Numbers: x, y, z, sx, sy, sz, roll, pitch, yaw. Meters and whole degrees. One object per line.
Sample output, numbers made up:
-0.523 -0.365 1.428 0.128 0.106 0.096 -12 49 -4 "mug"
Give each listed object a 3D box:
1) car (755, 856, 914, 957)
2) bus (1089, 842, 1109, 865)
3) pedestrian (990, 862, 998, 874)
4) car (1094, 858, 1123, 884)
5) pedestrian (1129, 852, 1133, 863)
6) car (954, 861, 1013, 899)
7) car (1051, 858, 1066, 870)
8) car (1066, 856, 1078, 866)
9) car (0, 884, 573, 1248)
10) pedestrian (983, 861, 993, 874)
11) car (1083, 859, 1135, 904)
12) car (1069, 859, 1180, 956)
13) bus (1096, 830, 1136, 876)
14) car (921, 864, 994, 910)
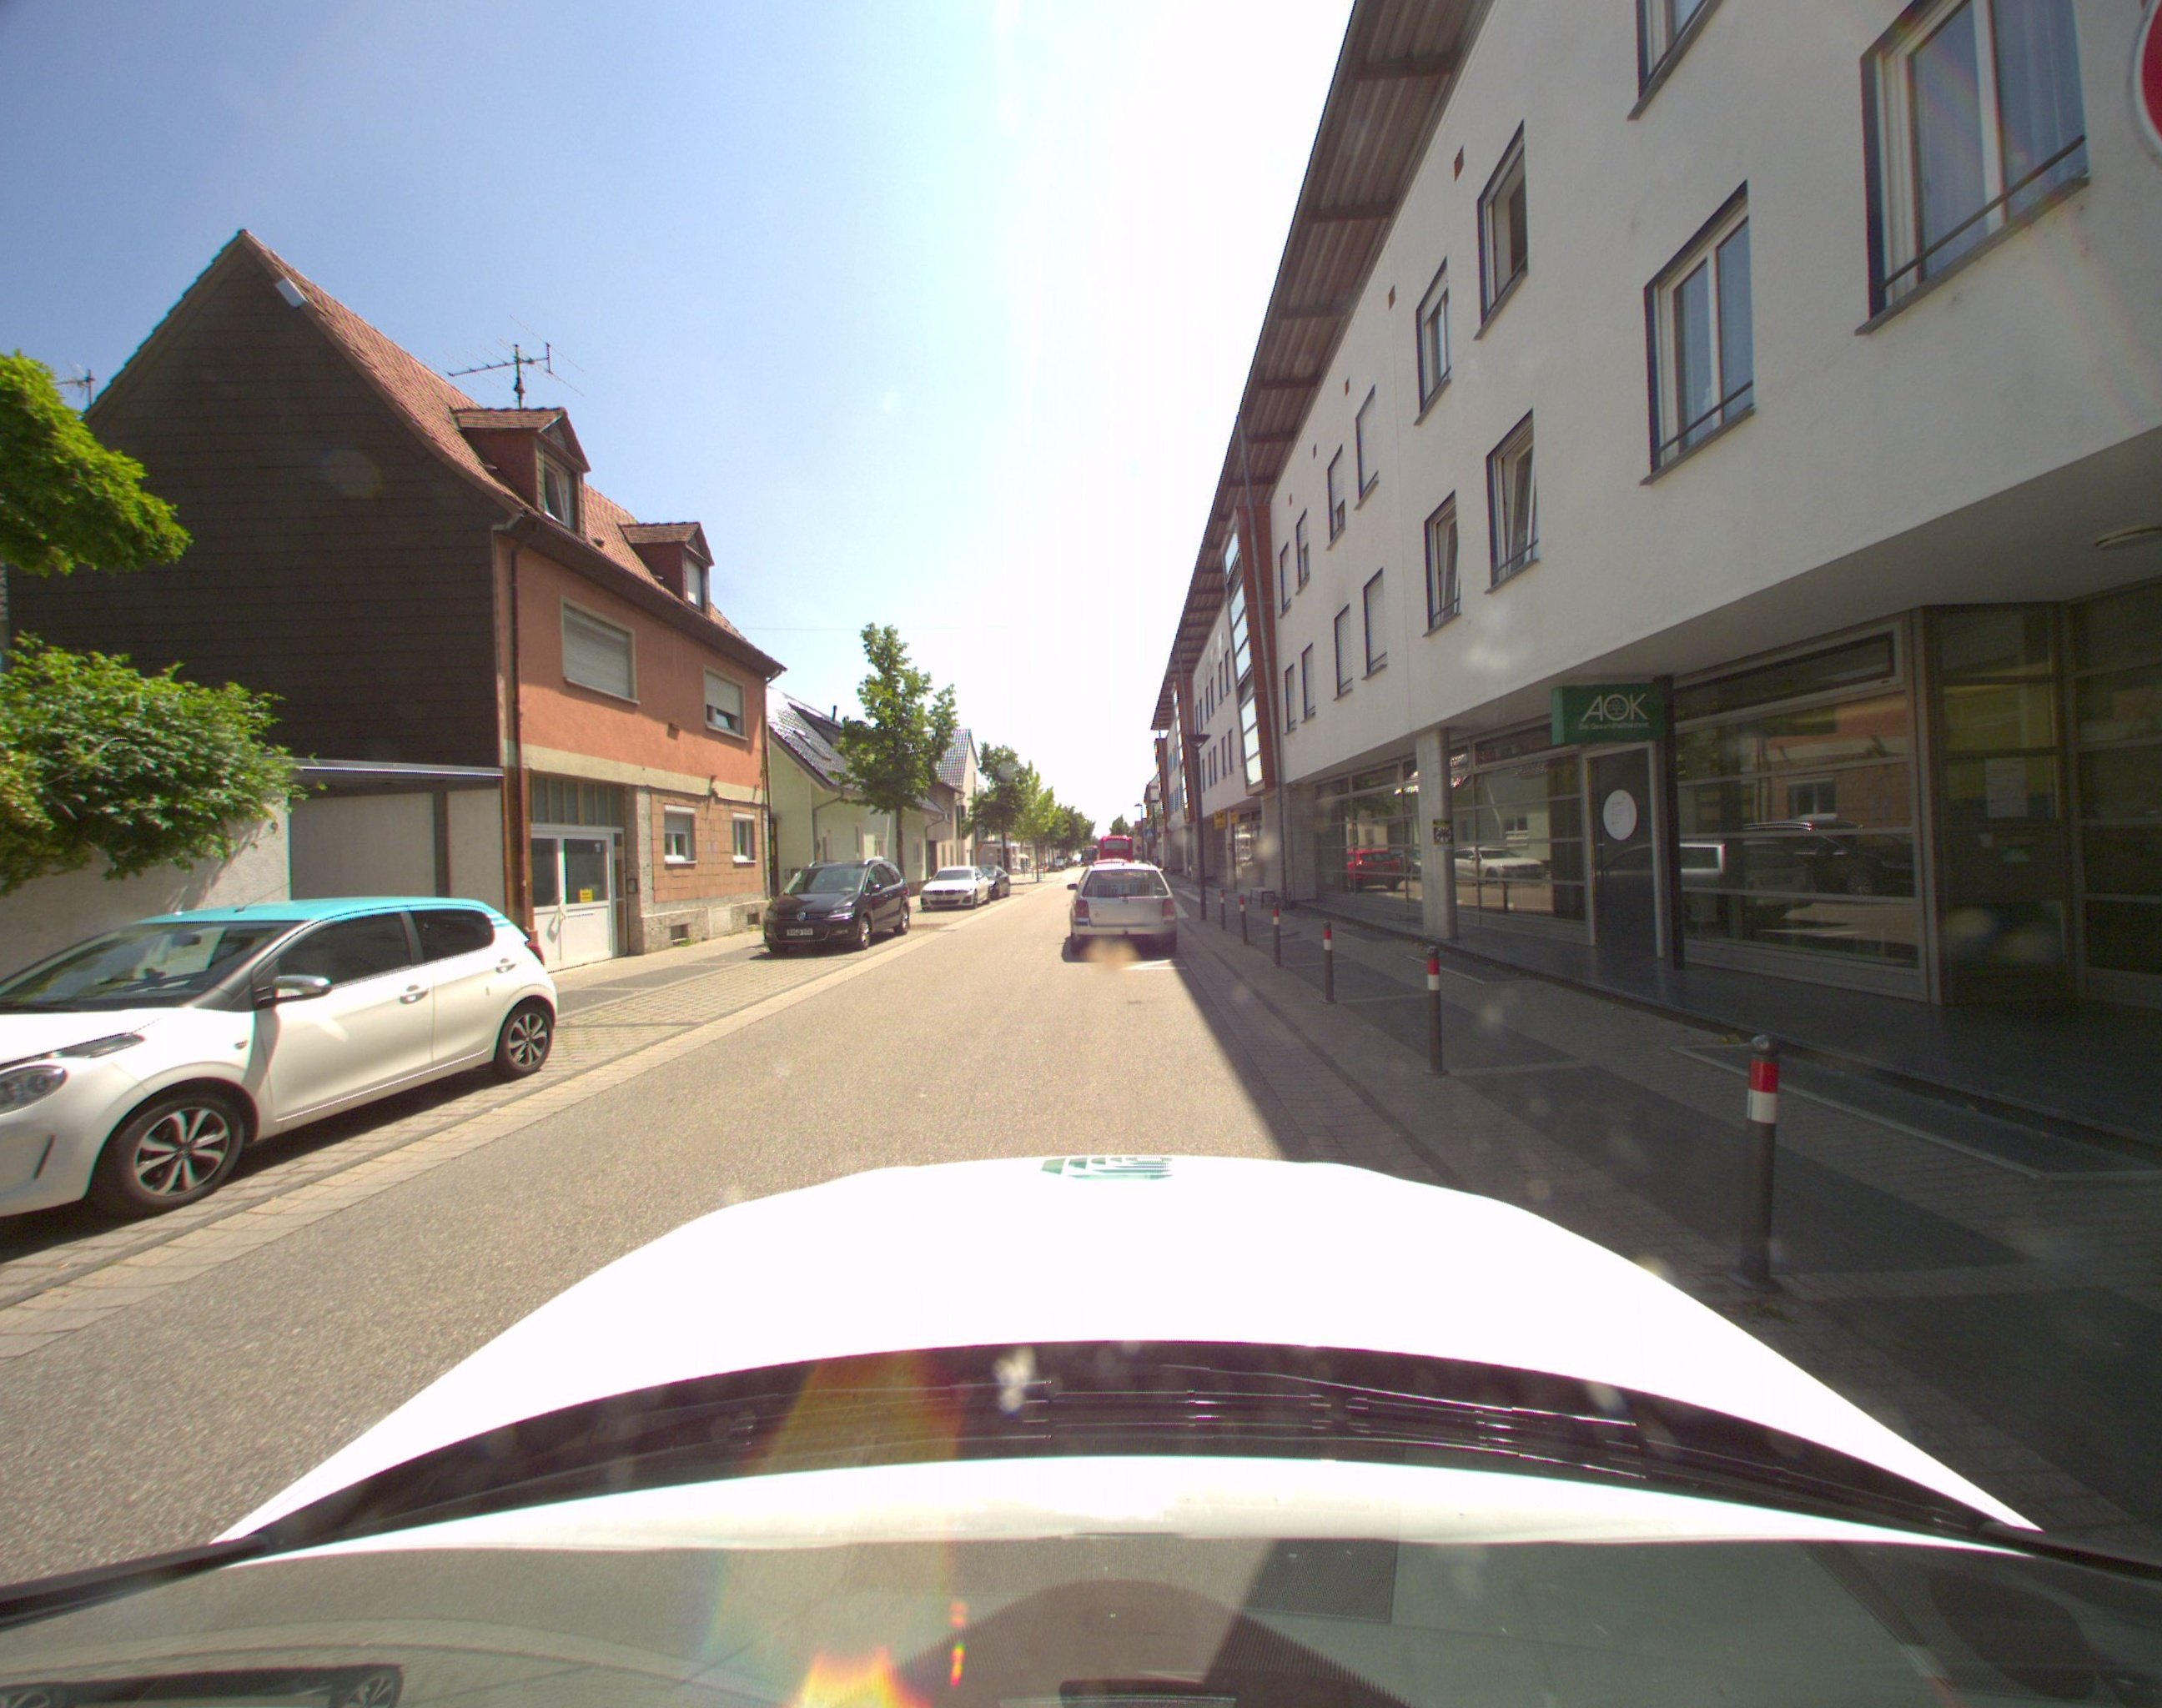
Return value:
-4.820 0.934 16.664 1.769 1.726 4.520 -2 0 1 "car"
2.810 -0.132 131.918 2.660 3.123 17.806 -2 2 0 "bus"
-8.530 1.355 79.751 0.620 1.179 0.696 -2 0 -2 "pedestrian"
1.648 0.951 47.591 1.587 1.430 3.682 -1 0 3 "car"
7.912 0.593 128.591 0.604 1.667 0.789 -2 0 0 "pedestrian"
-4.032 1.049 34.322 1.654 1.437 4.542 -2 0 3 "car"
-2.830 1.212 103.022 1.599 1.438 4.066 -2 0 2 "car"
-1.456 1.224 136.193 1.805 1.559 4.001 -2 0 2 "car"
-5.162 0.996 5.191 1.547 1.430 3.412 -3 0 2 "car"
-8.955 1.287 78.482 0.639 1.289 0.780 1 -1 -42 "pedestrian"
0.964 0.888 27.959 1.670 1.430 3.681 -1 0 2 "car"
0.719 0.815 14.132 1.670 1.430 3.681 0 0 2 "car"
2.699 -0.012 66.252 2.731 3.298 12.705 -1 0 1 "bus"
-4.265 1.094 28.789 1.713 1.437 4.461 -1 0 2 "car"
